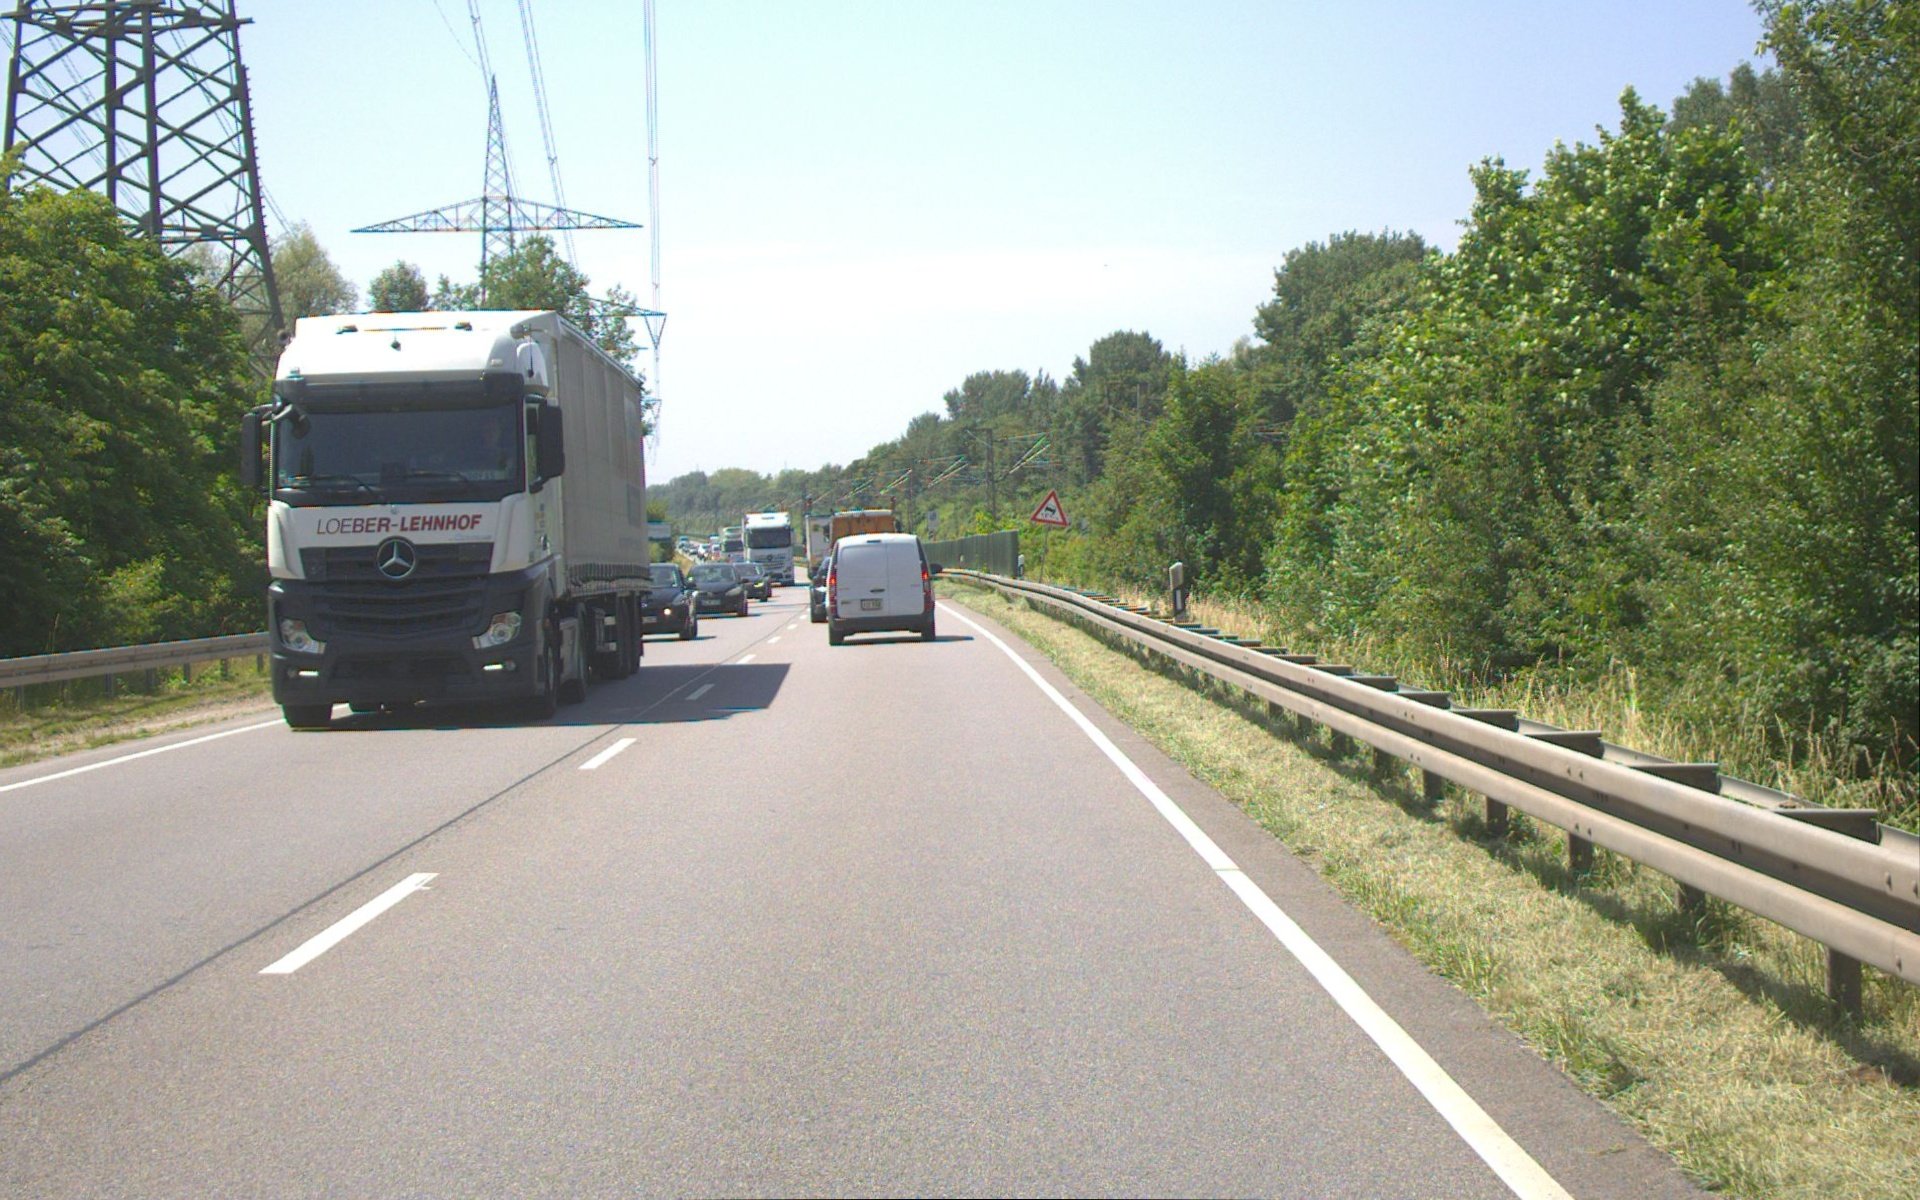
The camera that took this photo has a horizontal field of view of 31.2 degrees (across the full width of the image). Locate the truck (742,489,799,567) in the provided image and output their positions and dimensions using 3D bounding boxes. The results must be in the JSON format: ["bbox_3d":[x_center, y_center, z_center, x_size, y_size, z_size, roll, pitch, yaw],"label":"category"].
[{"bbox_3d":[-10.392,-3.939,189.395,2.742,4.028,9.665,-3,1,-2],"label":"truck"}]

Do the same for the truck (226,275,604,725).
[{"bbox_3d":[-5.253,-0.948,34.179,2.763,3.985,5.907,-2,1,-1],"label":"truck"}]

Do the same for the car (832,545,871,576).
[{"bbox_3d":[-5.742,-2.106,181.708,1.993,1.521,4.001,-2,1,-2],"label":"car"}]

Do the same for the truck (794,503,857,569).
[{"bbox_3d":[-8.474,-4.060,214.351,3.402,3.841,16.821,0,2,-4],"label":"truck"}]

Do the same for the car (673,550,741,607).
[{"bbox_3d":[-6.740,-0.583,91.859,1.633,1.432,4.415,-3,1,-2],"label":"car"}]

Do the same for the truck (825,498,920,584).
[{"bbox_3d":[-3.545,-2.414,135.325,3.296,3.161,14.407,0,2,-3],"label":"truck"}]

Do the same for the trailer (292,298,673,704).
[{"bbox_3d":[-5.367,-1.091,41.405,2.763,3.985,13.687,-2,1,-1],"label":"trailer"}]

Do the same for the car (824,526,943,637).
[{"bbox_3d":[-1.262,-0.324,57.188,1.875,1.735,4.000,-1,1,-1],"label":"car"}]

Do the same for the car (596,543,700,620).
[{"bbox_3d":[-6.013,-0.380,66.517,1.634,1.432,4.180,0,1,0],"label":"car"}]
